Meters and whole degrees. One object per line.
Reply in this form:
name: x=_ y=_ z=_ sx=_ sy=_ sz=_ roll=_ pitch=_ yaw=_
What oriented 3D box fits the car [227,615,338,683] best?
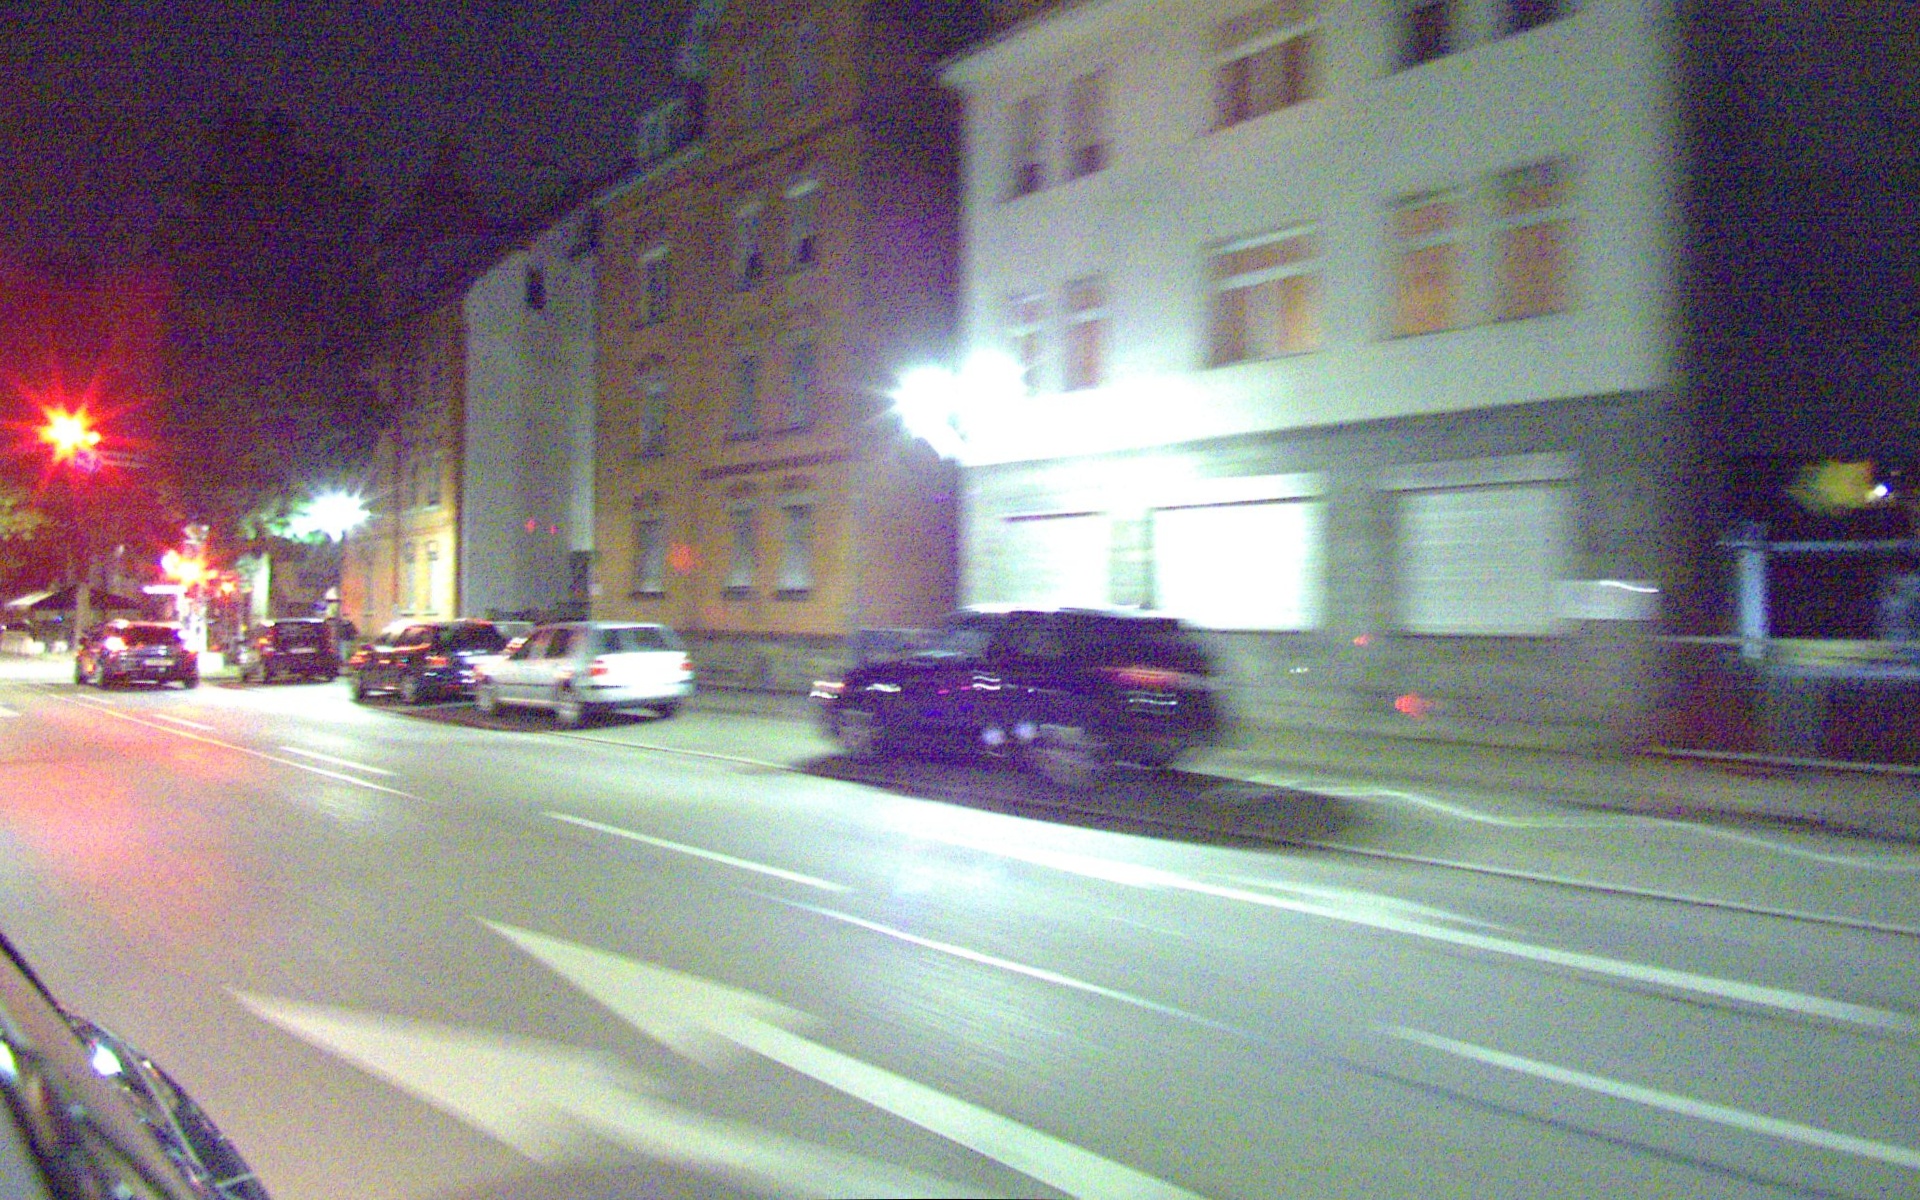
car: x=-16.767 y=1.147 z=24.997 sx=1.574 sy=1.502 sz=3.701 roll=-2 pitch=0 yaw=-45

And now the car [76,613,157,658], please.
car: x=-32.460 y=1.332 z=38.923 sx=4.023 sy=1.608 sz=1.866 roll=-1 pitch=0 yaw=42

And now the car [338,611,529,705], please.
car: x=-9.893 y=1.010 z=18.879 sx=4.329 sy=1.502 sz=1.765 roll=-1 pitch=0 yaw=43

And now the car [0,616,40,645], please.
car: x=-48.721 y=1.544 z=51.843 sx=4.440 sy=1.444 sz=1.841 roll=-1 pitch=-1 yaw=41

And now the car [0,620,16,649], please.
car: x=-52.718 y=1.857 z=54.842 sx=4.470 sy=1.490 sz=1.841 roll=-1 pitch=-1 yaw=41

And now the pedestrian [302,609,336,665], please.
pedestrian: x=-19.874 y=1.155 z=31.366 sx=0.700 sy=1.703 sz=1.126 roll=2 pitch=-3 yaw=-39

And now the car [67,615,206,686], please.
car: x=-18.360 y=1.098 z=22.515 sx=3.998 sy=1.440 sz=1.697 roll=-1 pitch=-4 yaw=41

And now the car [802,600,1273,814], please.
car: x=0.568 y=0.852 z=9.871 sx=4.410 sy=1.594 sz=1.766 roll=-1 pitch=0 yaw=42

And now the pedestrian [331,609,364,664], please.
pedestrian: x=-19.287 y=1.157 z=31.869 sx=0.700 sy=1.703 sz=0.999 roll=2 pitch=-3 yaw=-39

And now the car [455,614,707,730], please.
car: x=-5.723 y=0.981 z=15.097 sx=3.996 sy=1.503 sz=1.767 roll=-1 pitch=-2 yaw=39
